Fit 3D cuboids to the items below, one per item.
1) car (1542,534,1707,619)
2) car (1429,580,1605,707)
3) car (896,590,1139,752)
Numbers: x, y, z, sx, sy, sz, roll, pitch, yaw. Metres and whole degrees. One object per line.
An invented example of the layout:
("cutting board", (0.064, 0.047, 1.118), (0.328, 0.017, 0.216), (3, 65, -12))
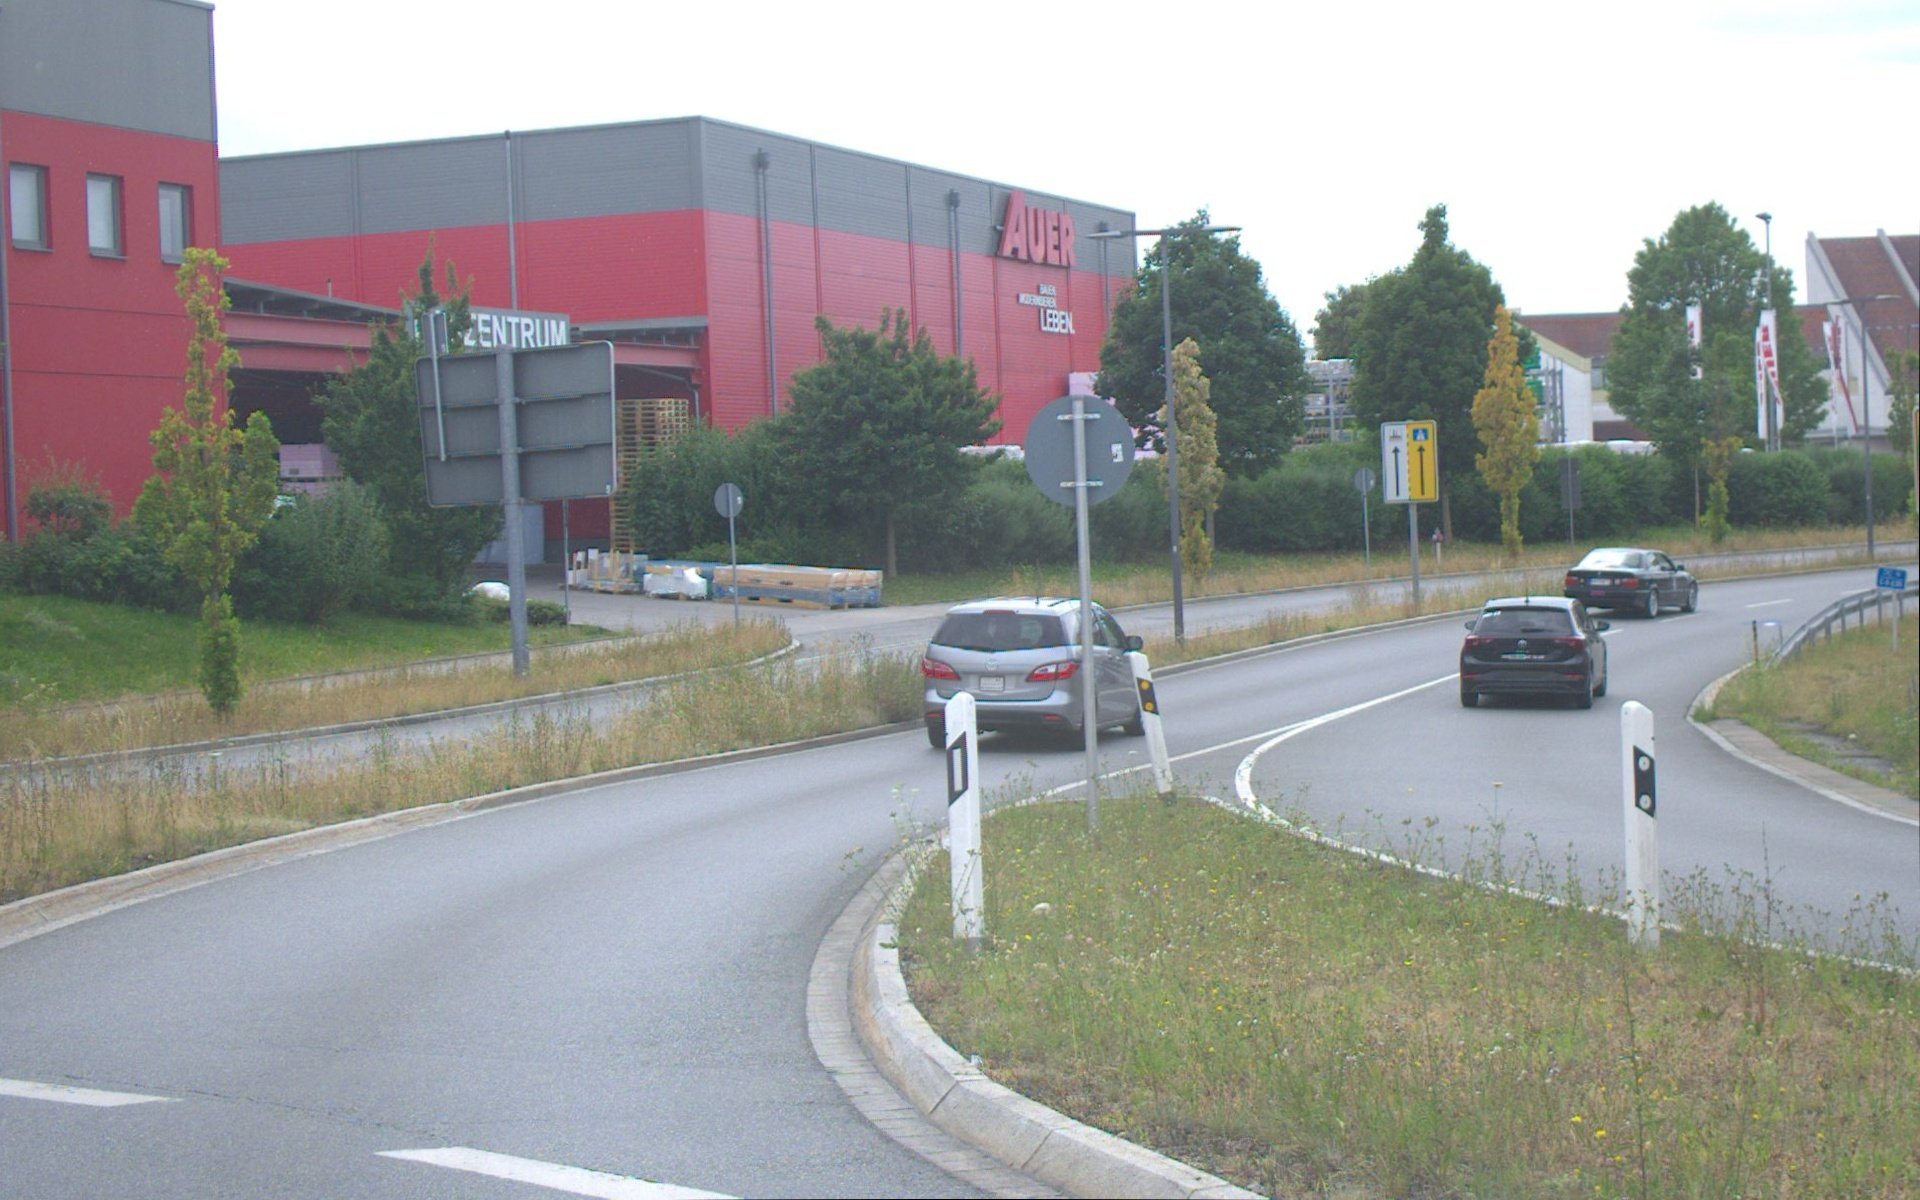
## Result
("car", (13.173, -0.475, 68.024), (1.909, 1.612, 3.993), (-1, 0, 31))
("car", (7.496, 0.547, 46.022), (1.870, 1.600, 3.732), (0, 1, 17))
("car", (0.682, 0.730, 37.402), (1.768, 1.611, 3.919), (-1, 1, 14))
